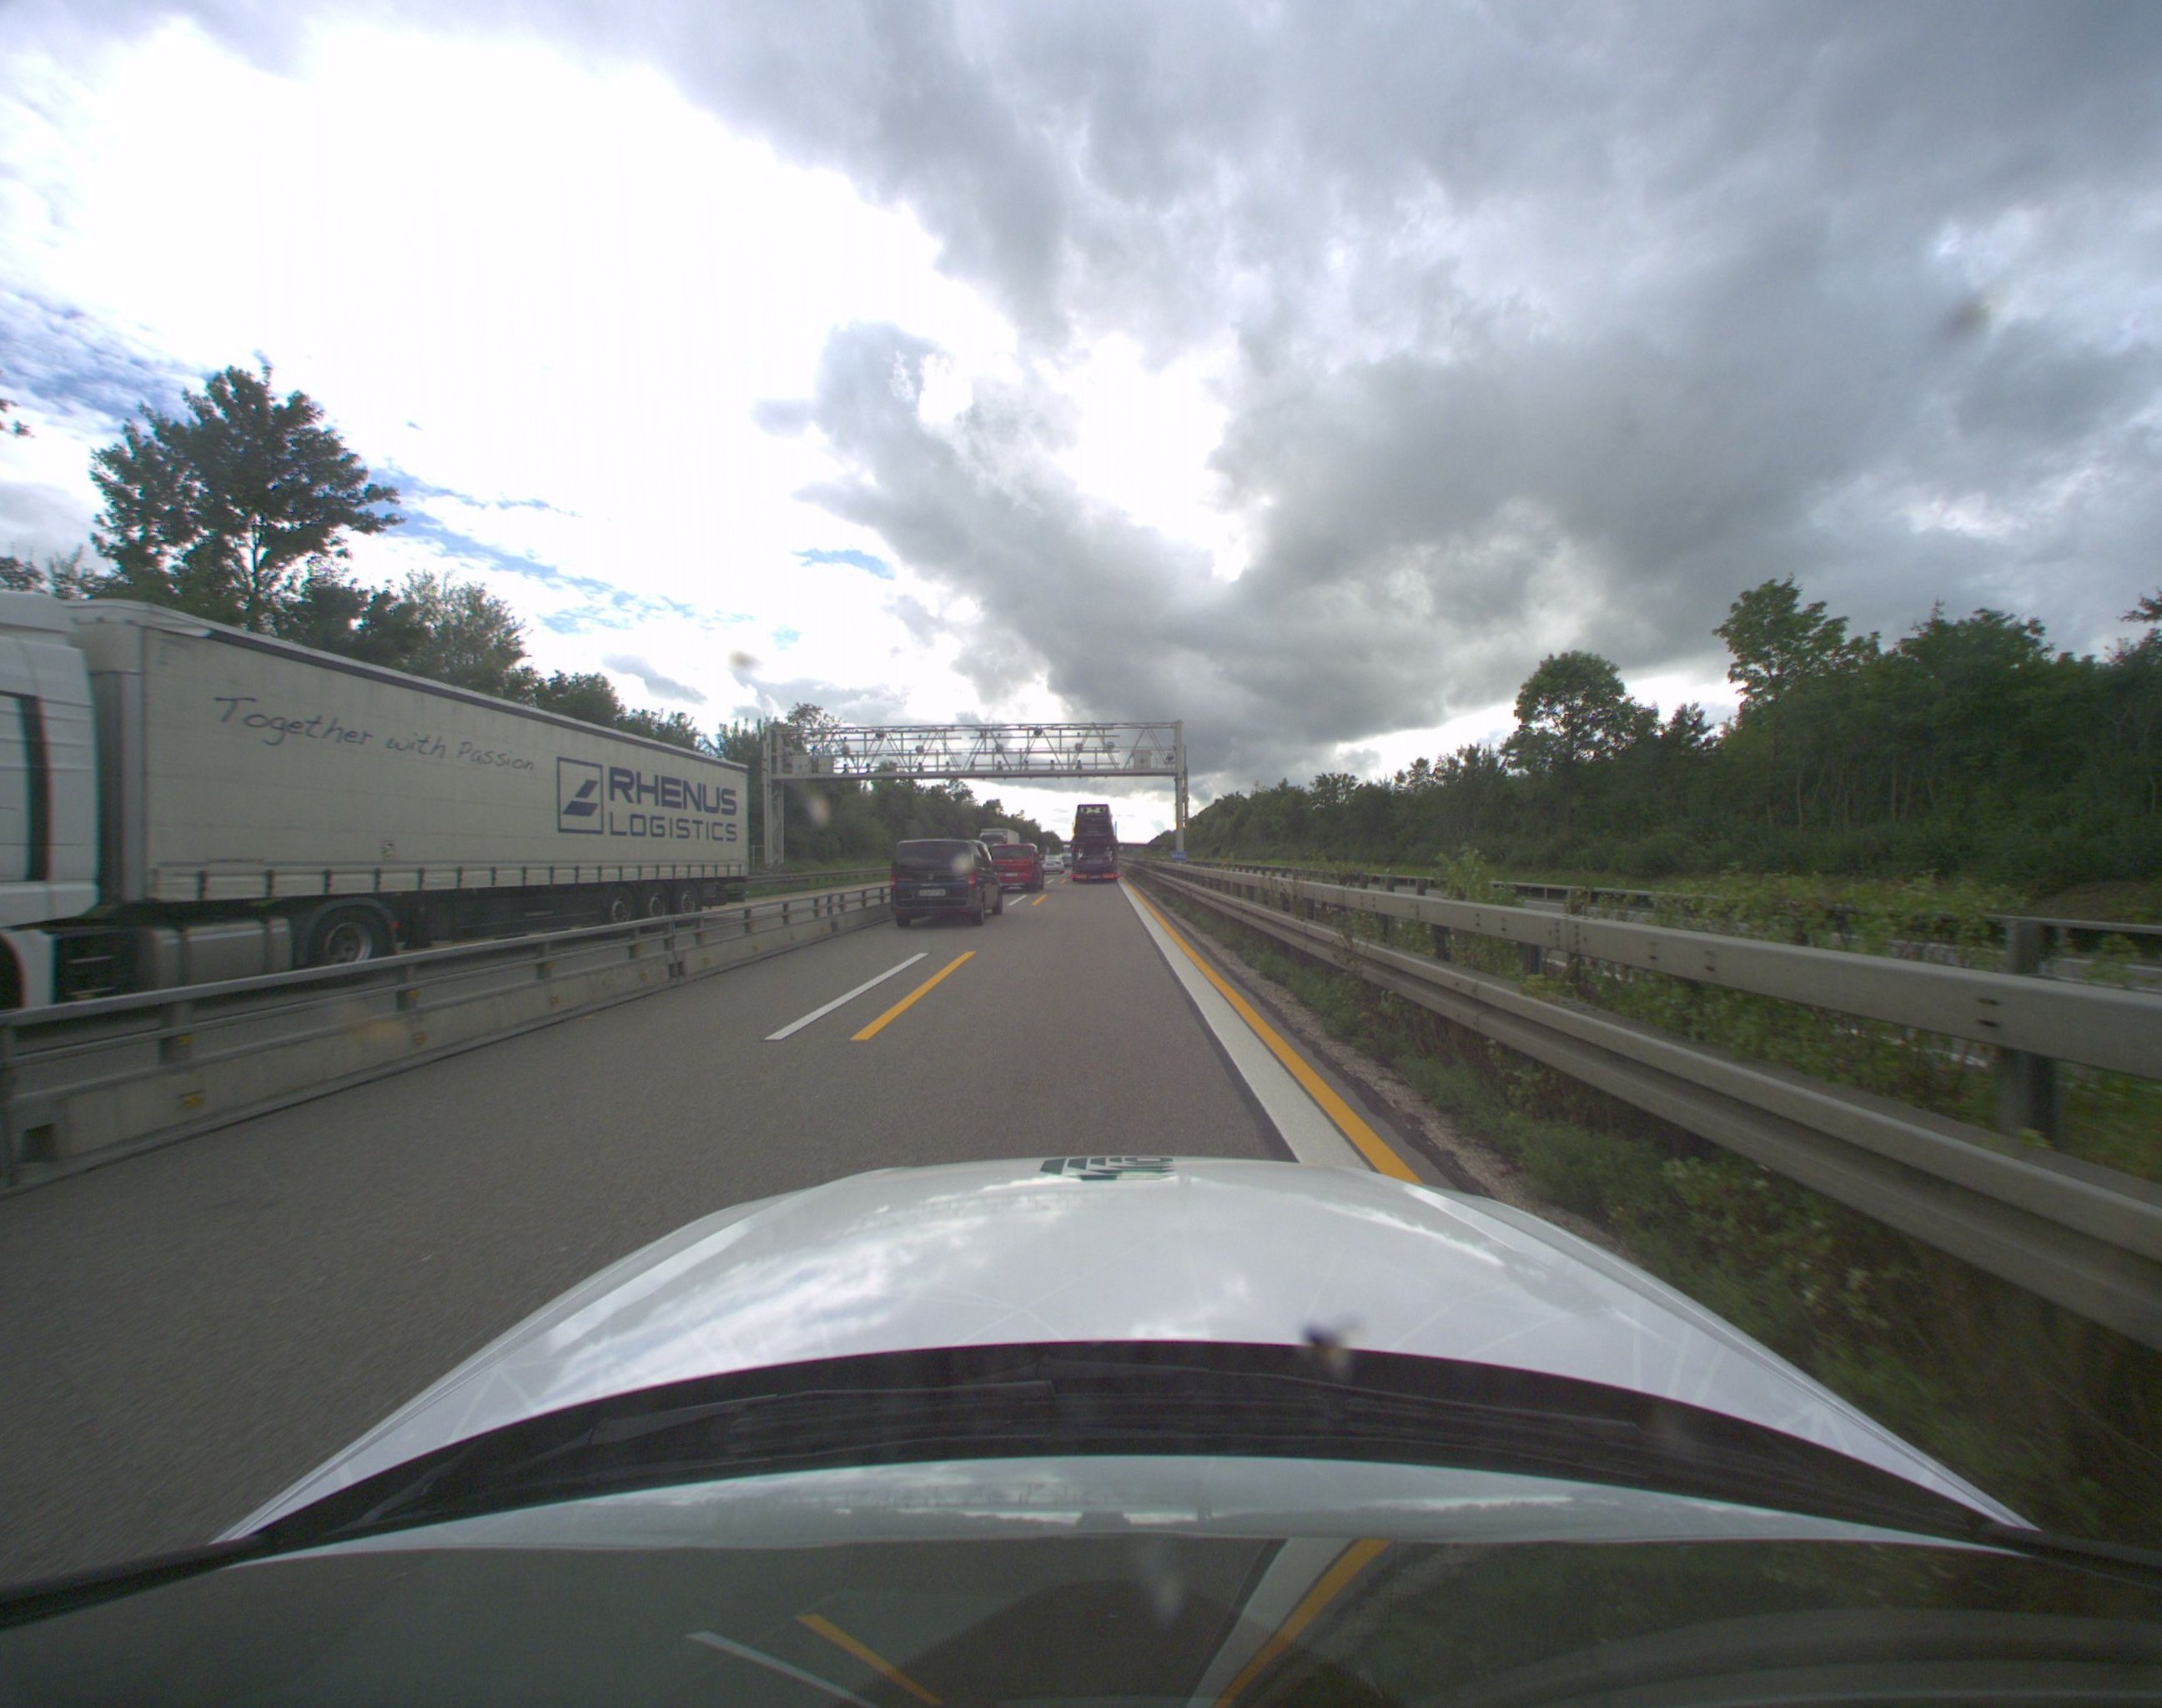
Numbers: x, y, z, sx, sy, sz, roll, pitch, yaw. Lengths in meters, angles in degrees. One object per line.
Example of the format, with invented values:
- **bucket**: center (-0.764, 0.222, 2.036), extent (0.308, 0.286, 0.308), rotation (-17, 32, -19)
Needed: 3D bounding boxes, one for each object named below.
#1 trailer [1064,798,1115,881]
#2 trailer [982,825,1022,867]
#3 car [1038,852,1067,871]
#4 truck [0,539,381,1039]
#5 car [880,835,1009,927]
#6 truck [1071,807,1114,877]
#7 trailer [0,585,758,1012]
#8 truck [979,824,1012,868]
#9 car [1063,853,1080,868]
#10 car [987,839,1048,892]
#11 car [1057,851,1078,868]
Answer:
- **trailer**: center (0.624, -0.695, 45.916), extent (2.506, 4.105, 11.118), rotation (0, 0, 2)
- **trailer**: center (-8.247, -0.845, 87.013), extent (2.589, 4.154, 13.994), rotation (0, 0, 1)
- **car**: center (-2.196, 0.549, 63.802), extent (2.024, 1.430, 4.578), rotation (-1, 0, 1)
- **truck**: center (-10.267, -0.546, 7.560), extent (2.589, 4.154, 5.621), rotation (0, 0, 1)
- **car**: center (-3.035, 0.551, 19.469), extent (1.986, 1.843, 5.611), rotation (-1, 0, 1)
- **truck**: center (0.779, -0.679, 50.655), extent (2.506, 4.105, 5.687), rotation (0, 0, 2)
- **trailer**: center (-10.129, -0.584, 14.925), extent (2.589, 4.154, 13.994), rotation (0, 0, 1)
- **truck**: center (-8.391, -0.792, 80.290), extent (2.589, 4.154, 5.621), rotation (0, 0, 1)
- **car**: center (-1.133, 0.806, 102.621), extent (2.024, 1.757, 4.577), rotation (-1, 0, 0)
- **car**: center (-2.544, 0.461, 33.580), extent (2.024, 2.013, 4.579), rotation (-1, 0, 1)
- **car**: center (-1.381, 0.561, 83.963), extent (2.024, 1.757, 4.578), rotation (-1, 0, 1)
